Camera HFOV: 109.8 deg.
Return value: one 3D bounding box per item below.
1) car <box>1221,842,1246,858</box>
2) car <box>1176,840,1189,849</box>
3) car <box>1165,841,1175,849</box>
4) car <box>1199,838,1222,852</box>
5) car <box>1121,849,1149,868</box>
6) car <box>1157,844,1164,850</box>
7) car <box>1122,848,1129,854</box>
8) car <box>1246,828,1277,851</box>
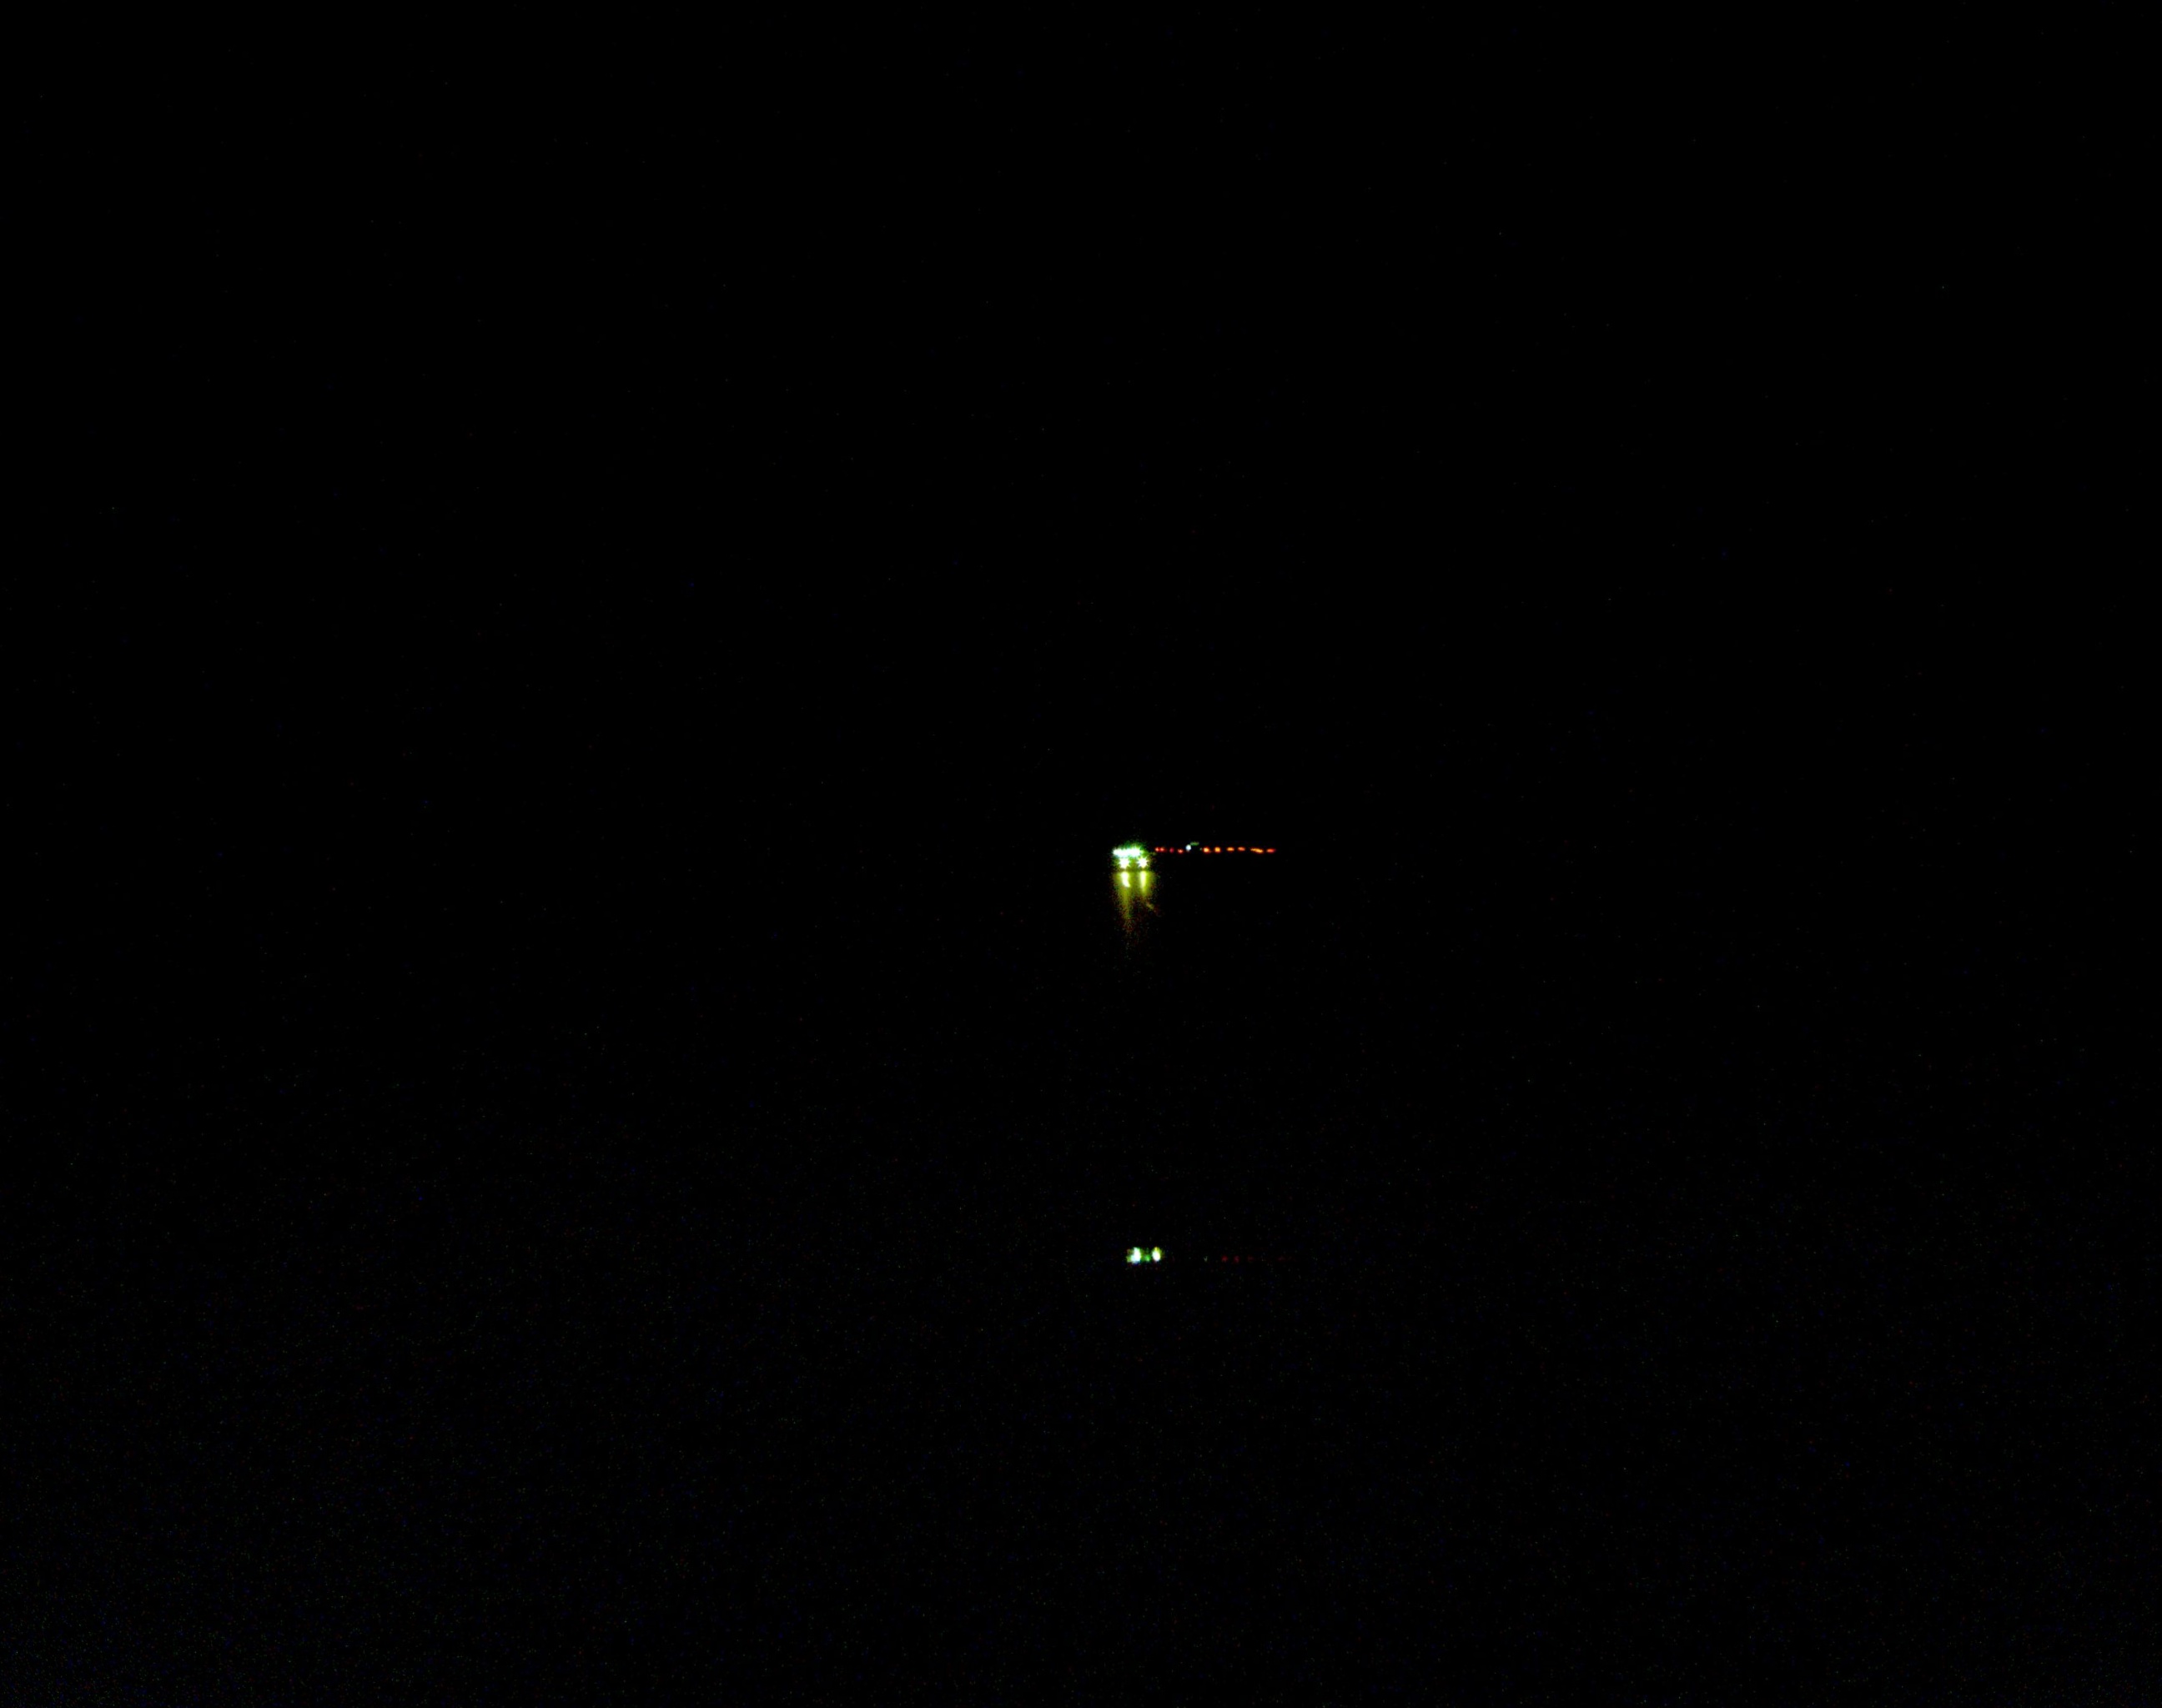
[{"bbox_3d":[17.608,-0.485,87.767,1.998,1.724,4.659,-2,1,2],"label":"car"},{"bbox_3d":[19.081,-1.768,142.661,1.998,1.724,4.659,-2,1,2],"label":"car"},{"bbox_3d":[21.976,-2.233,188.470,1.998,1.724,4.659,-2,1,2],"label":"car"},{"bbox_3d":[18.849,-1.294,110.971,2.151,1.874,5.422,-2,1,-2],"label":"car"},{"bbox_3d":[4.455,0.370,63.619,1.998,1.422,4.330,-3,0,1],"label":"car"},{"bbox_3d":[25.529,-2.289,243.654,1.998,1.724,4.659,-2,1,2],"label":"car"},{"bbox_3d":[13.440,-0.891,230.039,1.998,1.724,4.225,-3,0,1],"label":"car"},{"bbox_3d":[25.228,-2.014,106.621,2.464,2.919,8.333,-2,1,2],"label":"car"}]
